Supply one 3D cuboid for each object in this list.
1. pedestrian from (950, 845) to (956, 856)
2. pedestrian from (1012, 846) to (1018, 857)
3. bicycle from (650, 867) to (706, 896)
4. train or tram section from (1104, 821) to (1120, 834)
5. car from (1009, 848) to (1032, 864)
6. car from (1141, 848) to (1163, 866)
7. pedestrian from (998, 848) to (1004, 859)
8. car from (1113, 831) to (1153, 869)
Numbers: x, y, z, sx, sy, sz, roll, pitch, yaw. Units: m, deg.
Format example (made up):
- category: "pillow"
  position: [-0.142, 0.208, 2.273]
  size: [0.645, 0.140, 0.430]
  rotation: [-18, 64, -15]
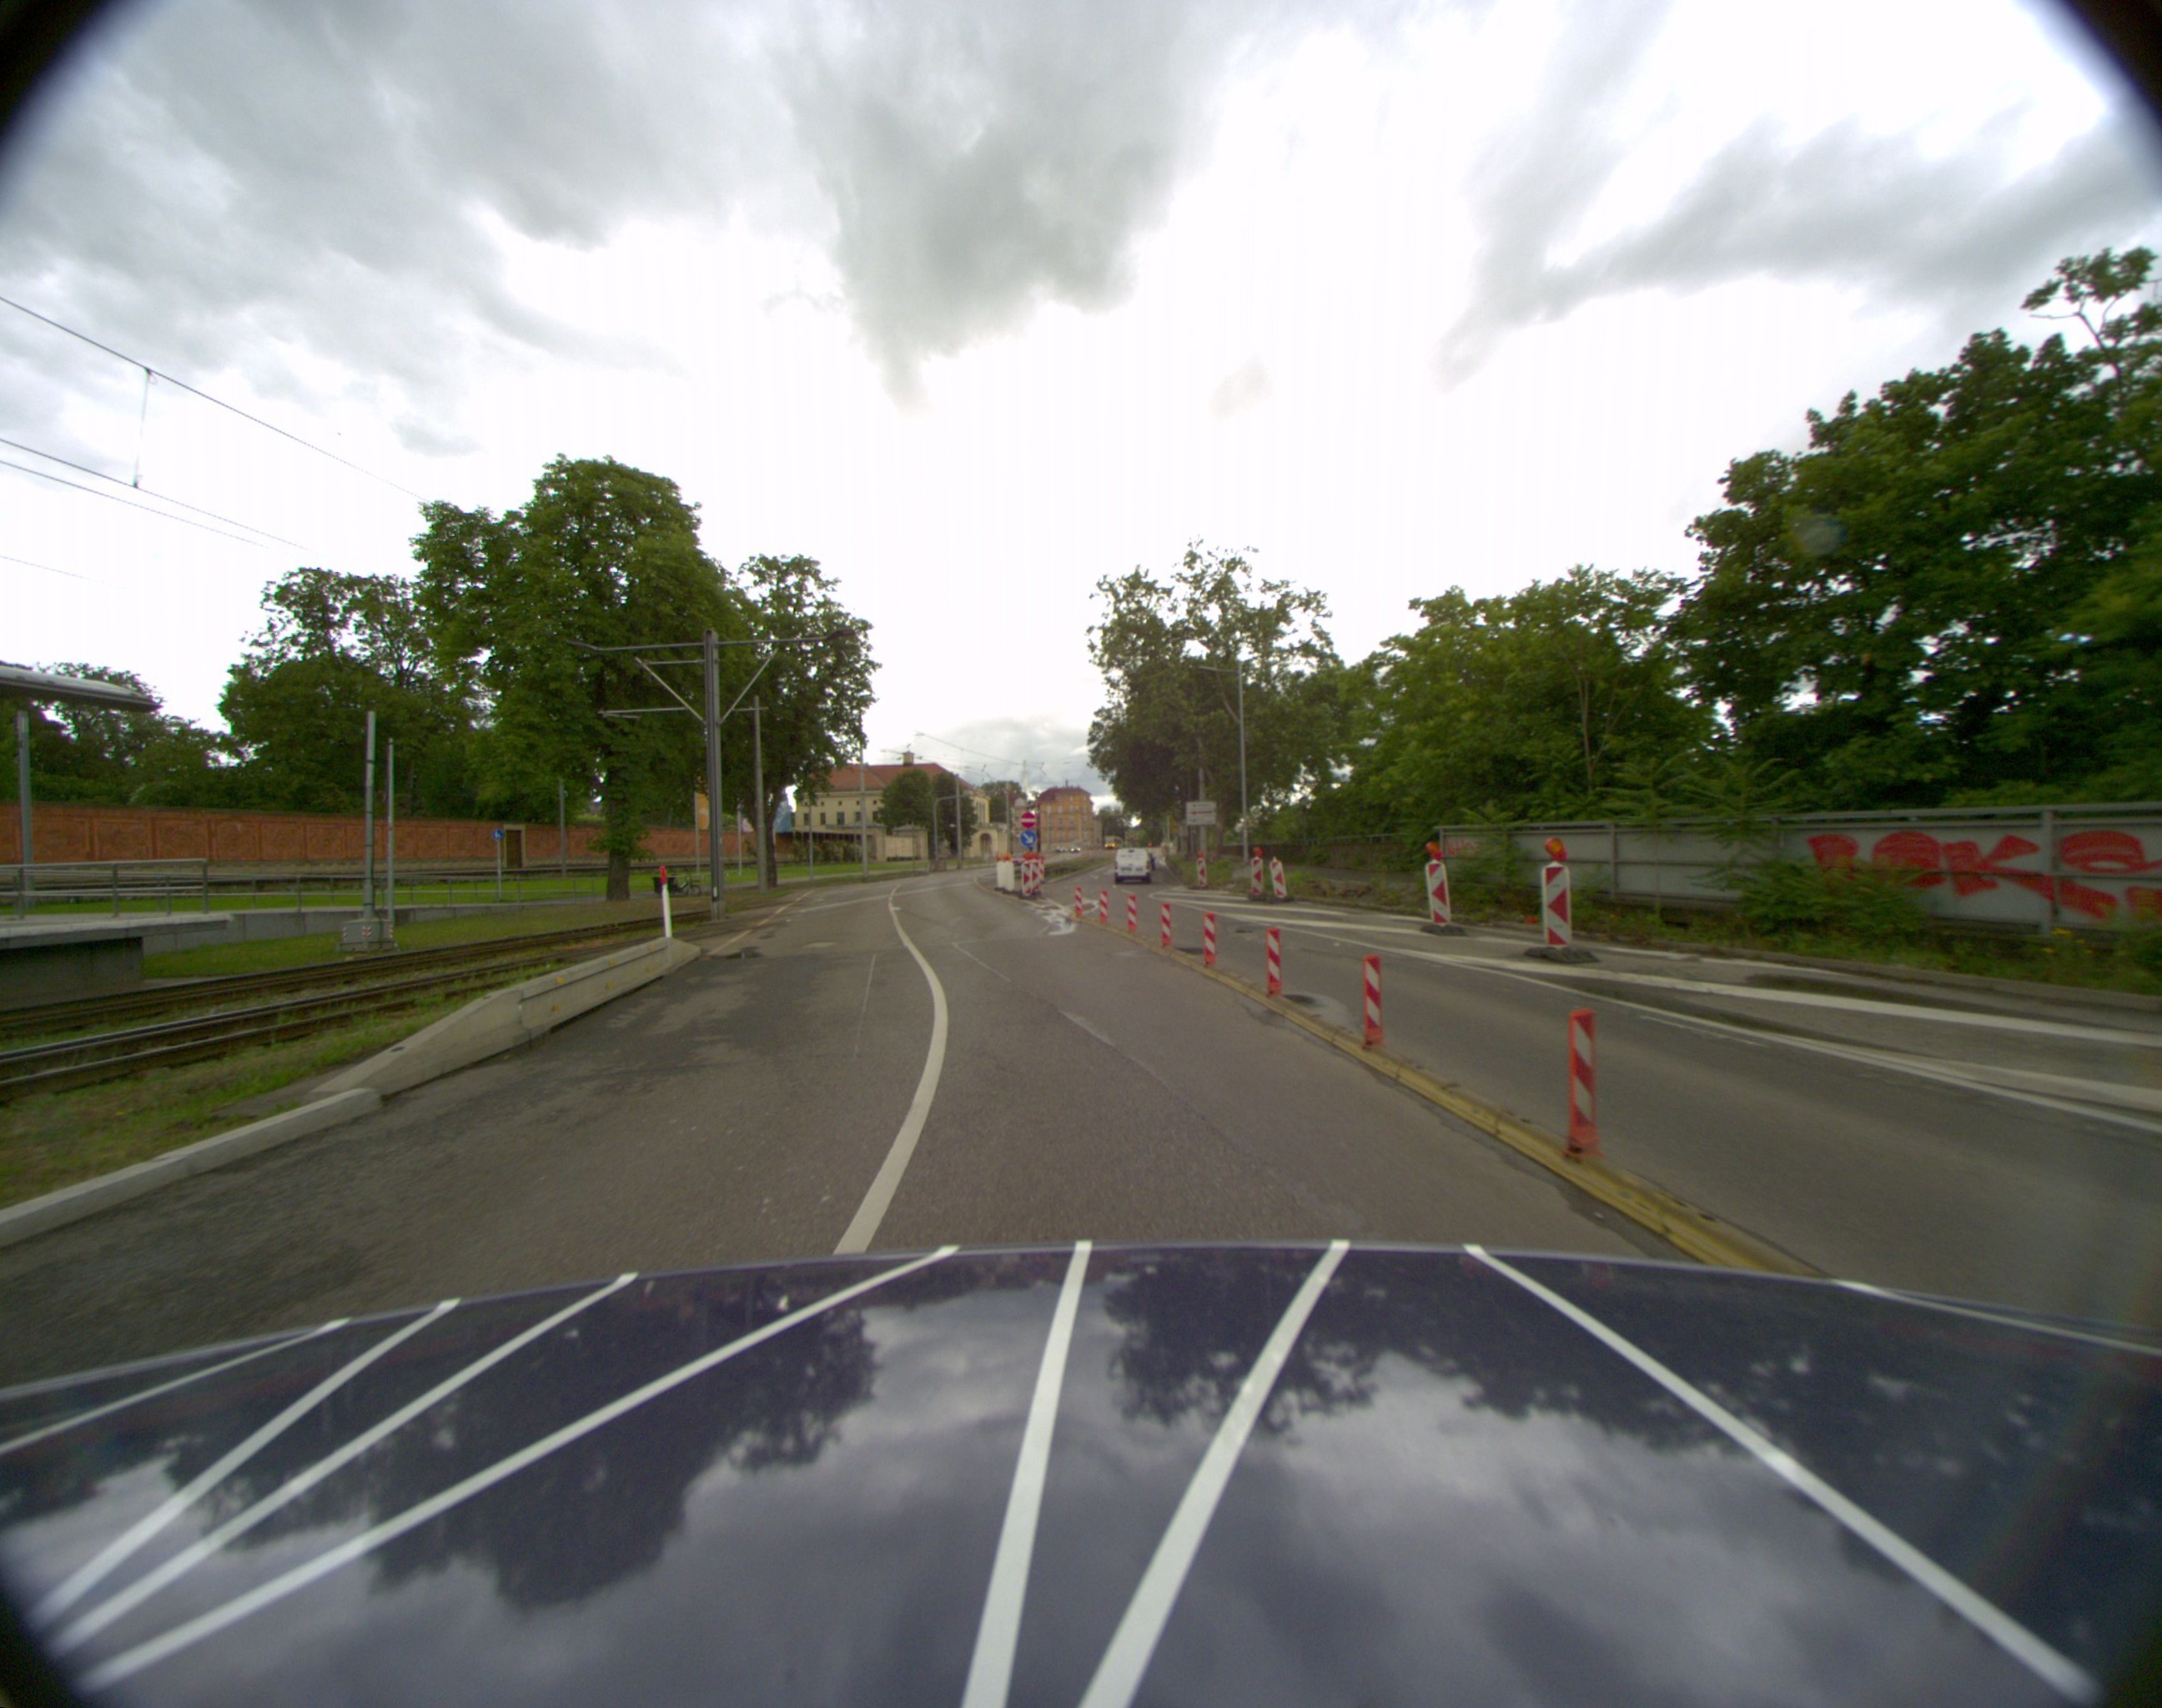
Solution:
- category: "pedestrian"
  position: [-20.081, -0.523, 119.311]
  size: [0.596, 1.782, 0.808]
  rotation: [-1, 2, 5]
- category: "pedestrian"
  position: [-9.956, -0.390, 115.003]
  size: [0.672, 1.758, 0.937]
  rotation: [-1, 2, 5]
- category: "bicycle"
  position: [-16.687, 1.152, 31.480]
  size: [1.995, 1.151, 0.741]
  rotation: [-1, 2, 10]
- category: "train or tram section"
  position: [8.430, -7.199, 205.584]
  size: [3.738, 3.347, 17.556]
  rotation: [0, 2, 4]
- category: "car"
  position: [-6.161, 0.150, 77.821]
  size: [1.680, 1.434, 4.120]
  rotation: [-3, 1, 5]
- category: "car"
  position: [6.187, 0.265, 66.284]
  size: [1.699, 1.453, 3.913]
  rotation: [0, 0, 2]
- category: "pedestrian"
  position: [-12.187, -0.062, 115.755]
  size: [0.672, 1.758, 0.937]
  rotation: [-1, 2, 5]
- category: "car"
  position: [2.651, -0.243, 39.802]
  size: [1.868, 1.772, 4.748]
  rotation: [-2, 1, 2]
